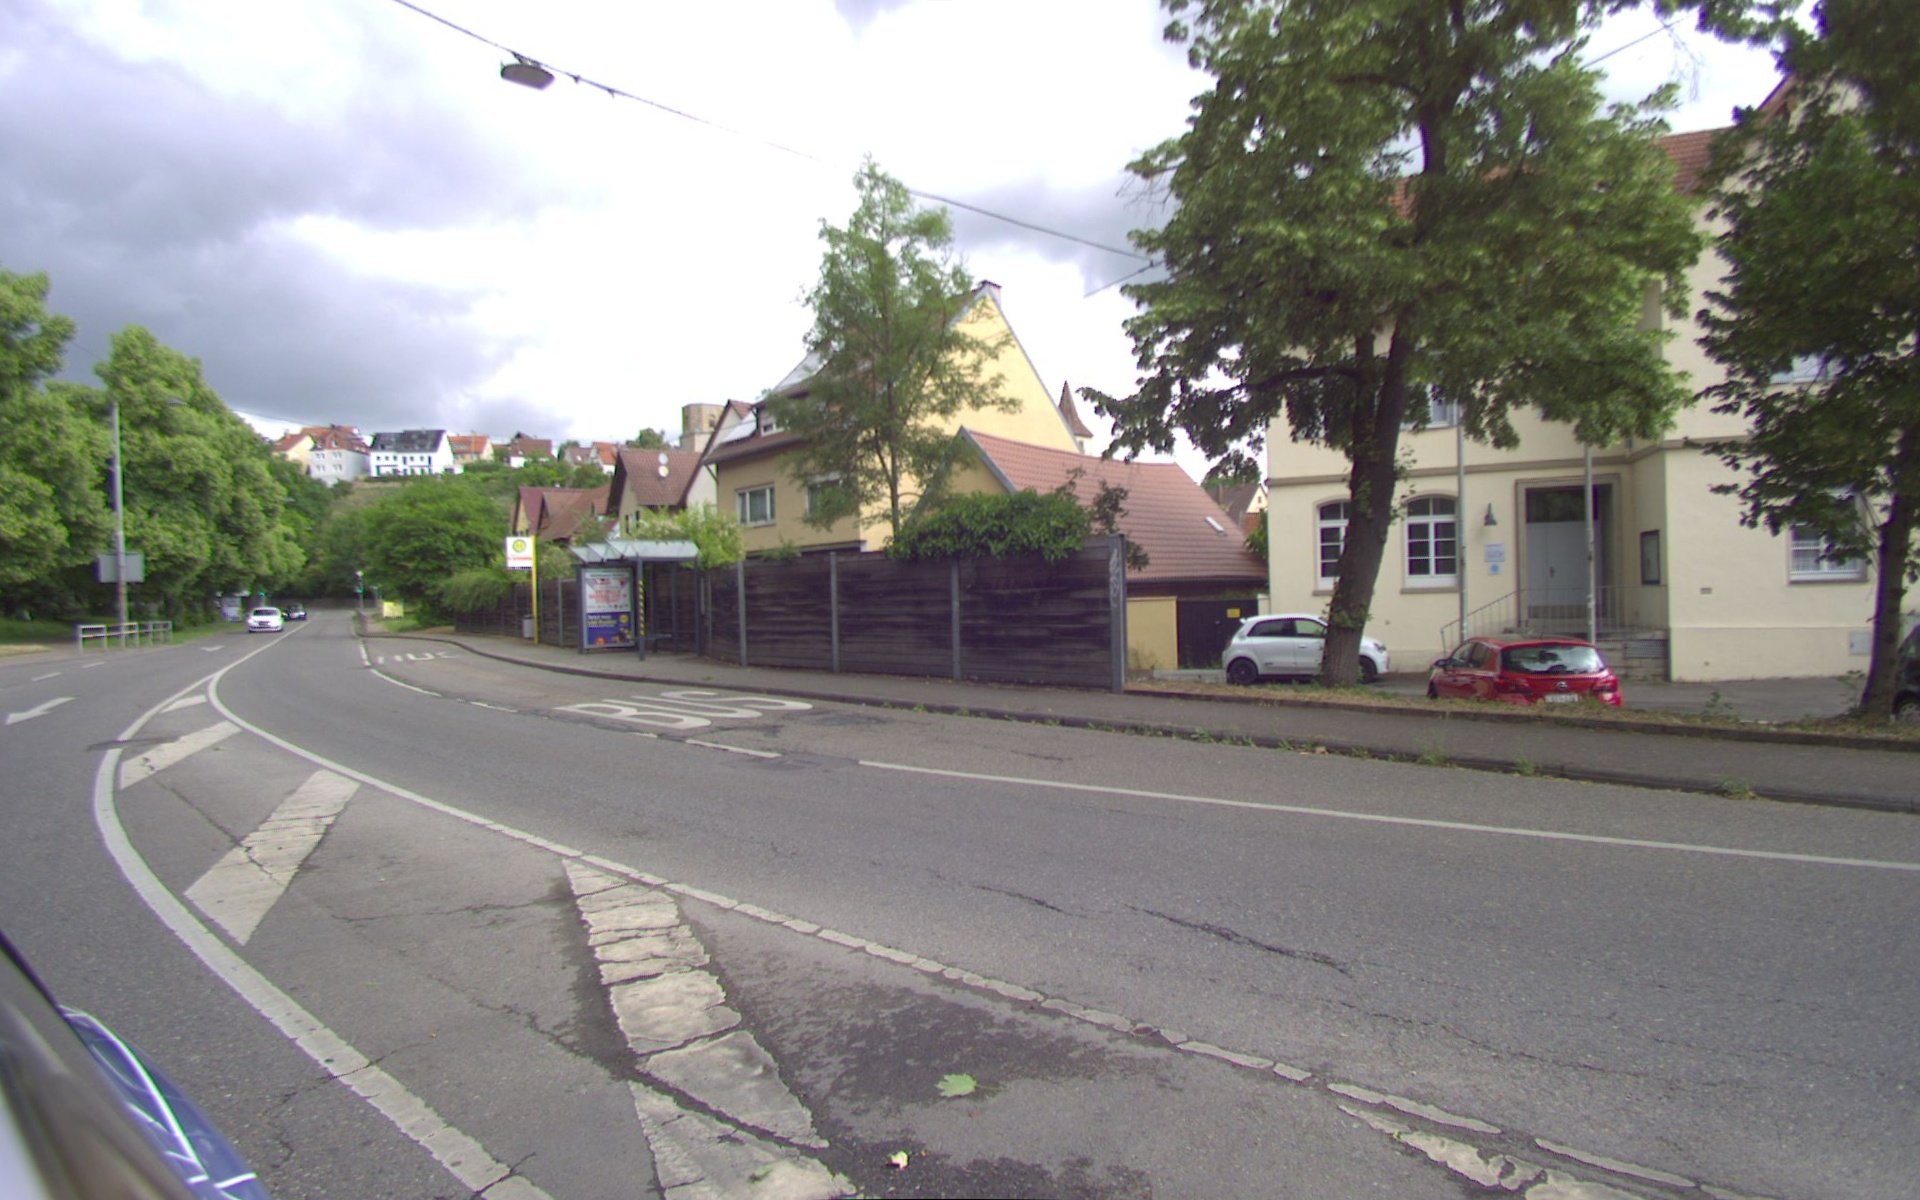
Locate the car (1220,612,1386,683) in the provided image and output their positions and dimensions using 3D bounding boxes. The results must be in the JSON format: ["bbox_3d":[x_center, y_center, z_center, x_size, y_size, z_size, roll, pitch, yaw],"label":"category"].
[{"bbox_3d":[7.720,1.050,22.894,3.411,1.490,1.600,-1,0,21],"label":"car"}]

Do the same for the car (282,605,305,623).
[{"bbox_3d":[-61.342,1.254,93.193,1.735,1.596,3.693,-1,0,-33],"label":"car"}]

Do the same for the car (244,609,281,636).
[{"bbox_3d":[-41.288,1.296,59.934,1.735,1.536,3.693,-1,0,-34],"label":"car"}]

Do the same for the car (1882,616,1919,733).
[{"bbox_3d":[12.633,0.929,11.312,1.626,1.450,3.567,-1,0,7],"label":"car"}]

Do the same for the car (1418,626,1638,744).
[{"bbox_3d":[8.144,1.141,14.886,1.644,1.393,3.708,-1,0,10],"label":"car"}]
